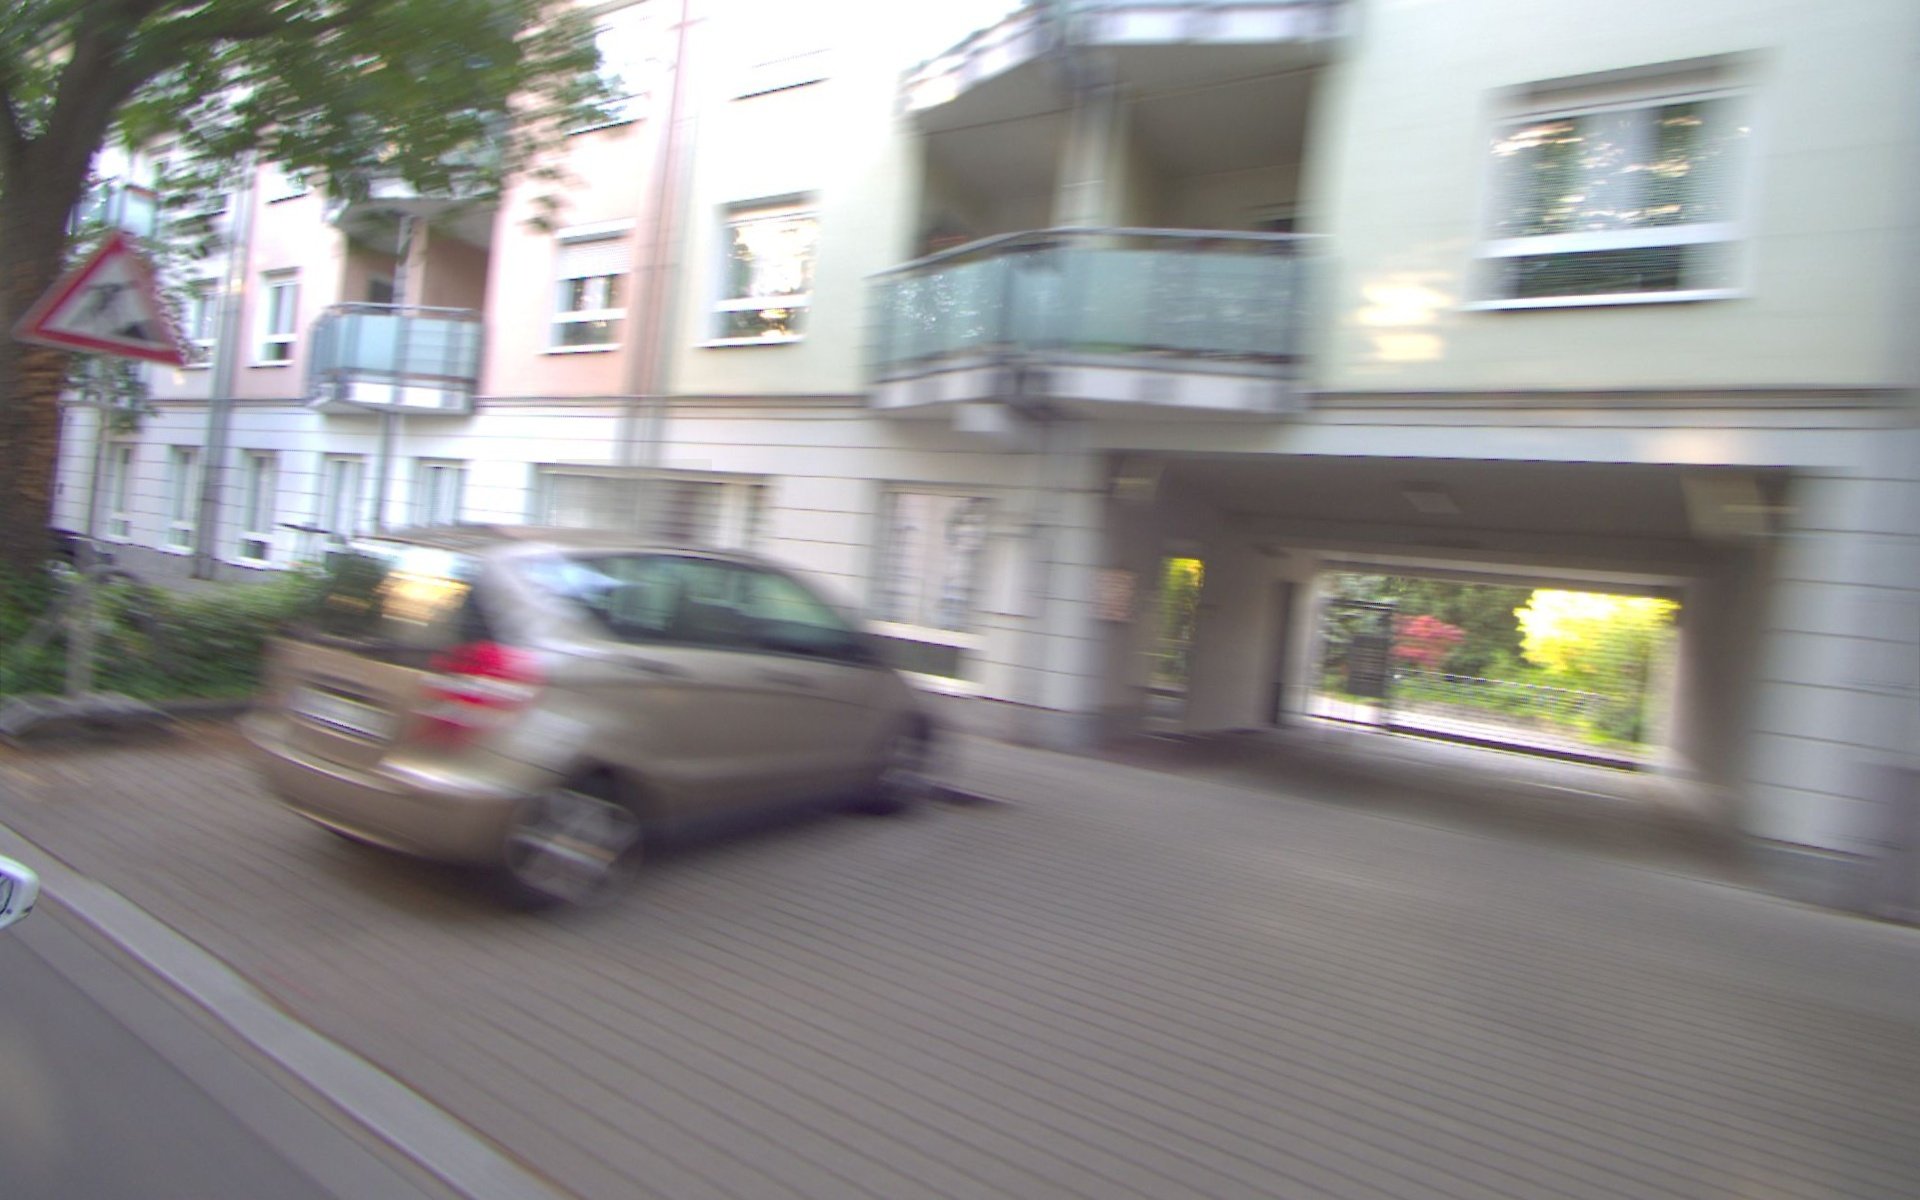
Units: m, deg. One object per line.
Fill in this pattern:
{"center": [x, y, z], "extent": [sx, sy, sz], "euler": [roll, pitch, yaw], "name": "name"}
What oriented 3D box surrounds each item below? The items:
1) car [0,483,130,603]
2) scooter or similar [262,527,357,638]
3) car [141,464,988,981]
{"center": [-13.348, -0.823, 12.696], "extent": [1.880, 1.494, 3.990], "euler": [7, 2, 28], "name": "car"}
{"center": [-8.167, -0.231, 12.616], "extent": [1.232, 1.256, 0.399], "euler": [7, 0, 32], "name": "scooter or similar"}
{"center": [-1.697, 0.412, 5.496], "extent": [1.894, 1.689, 3.863], "euler": [7, 2, 31], "name": "car"}
